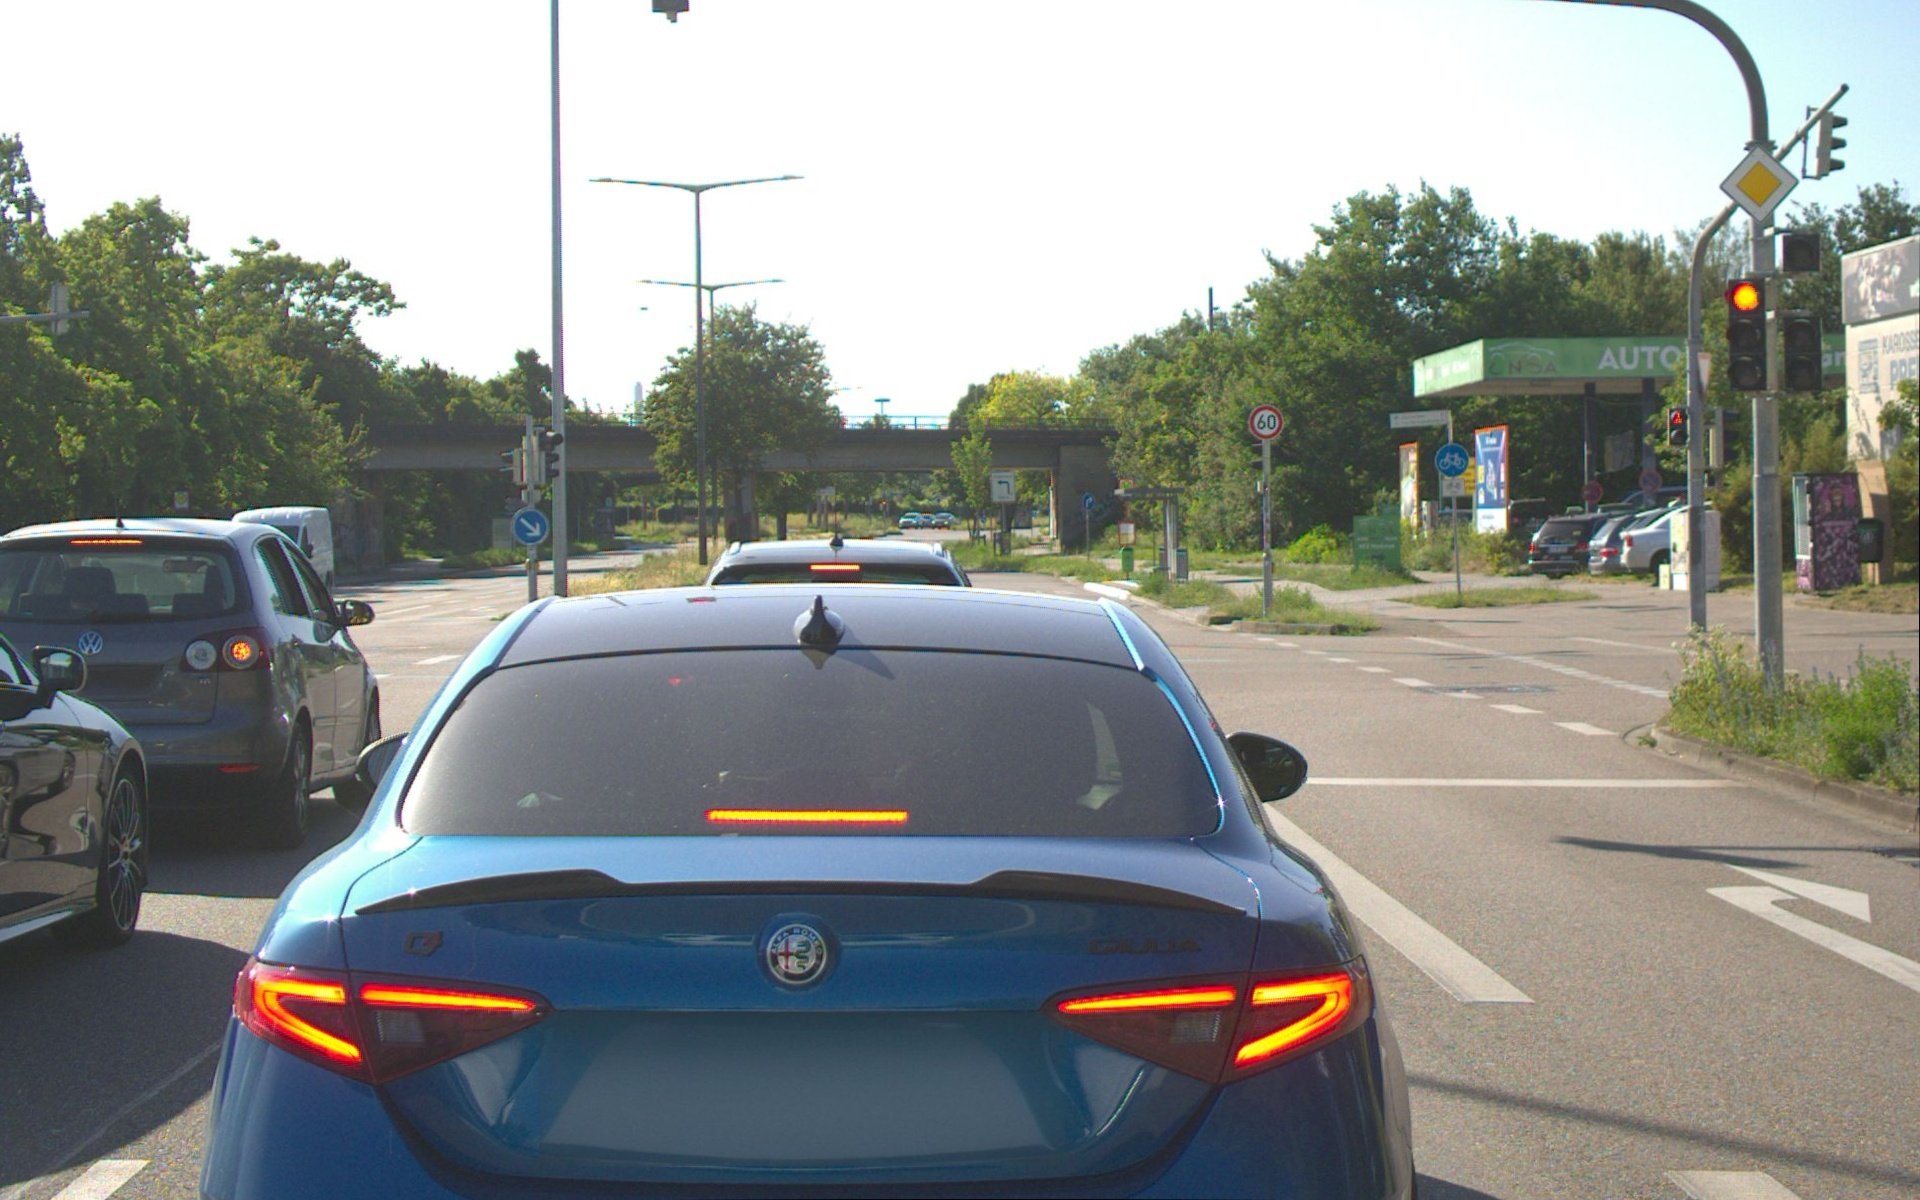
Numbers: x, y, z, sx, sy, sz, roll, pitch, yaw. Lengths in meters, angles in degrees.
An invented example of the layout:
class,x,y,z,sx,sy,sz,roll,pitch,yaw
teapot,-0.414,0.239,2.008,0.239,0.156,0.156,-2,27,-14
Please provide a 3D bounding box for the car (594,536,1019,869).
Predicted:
class,x,y,z,sx,sy,sz,roll,pitch,yaw
car,-0.698,0.414,17.076,1.866,1.445,3.932,0,1,-1

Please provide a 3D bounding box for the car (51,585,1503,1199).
class,x,y,z,sx,sy,sz,roll,pitch,yaw
car,-0.259,0.699,6.400,1.866,1.380,3.932,0,1,-1

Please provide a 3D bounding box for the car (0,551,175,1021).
class,x,y,z,sx,sy,sz,roll,pitch,yaw
car,-3.804,0.574,10.638,1.768,1.409,4.461,0,1,-1

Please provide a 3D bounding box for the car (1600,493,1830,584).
class,x,y,z,sx,sy,sz,roll,pitch,yaw
car,14.511,-1.188,66.105,3.986,1.700,1.696,-1,1,-16

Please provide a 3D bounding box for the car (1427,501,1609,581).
class,x,y,z,sx,sy,sz,roll,pitch,yaw
car,12.019,-1.278,74.152,3.483,1.700,1.696,-1,1,-16

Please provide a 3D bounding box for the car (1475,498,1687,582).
class,x,y,z,sx,sy,sz,roll,pitch,yaw
car,12.820,-1.241,70.961,3.986,1.700,1.696,-1,1,-19

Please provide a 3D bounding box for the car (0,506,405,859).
class,x,y,z,sx,sy,sz,roll,pitch,yaw
car,-3.958,0.334,17.554,1.648,1.593,3.932,0,1,-1

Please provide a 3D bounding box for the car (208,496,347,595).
class,x,y,z,sx,sy,sz,roll,pitch,yaw
car,-17.280,-1.413,87.351,2.431,2.418,5.831,0,1,-1
